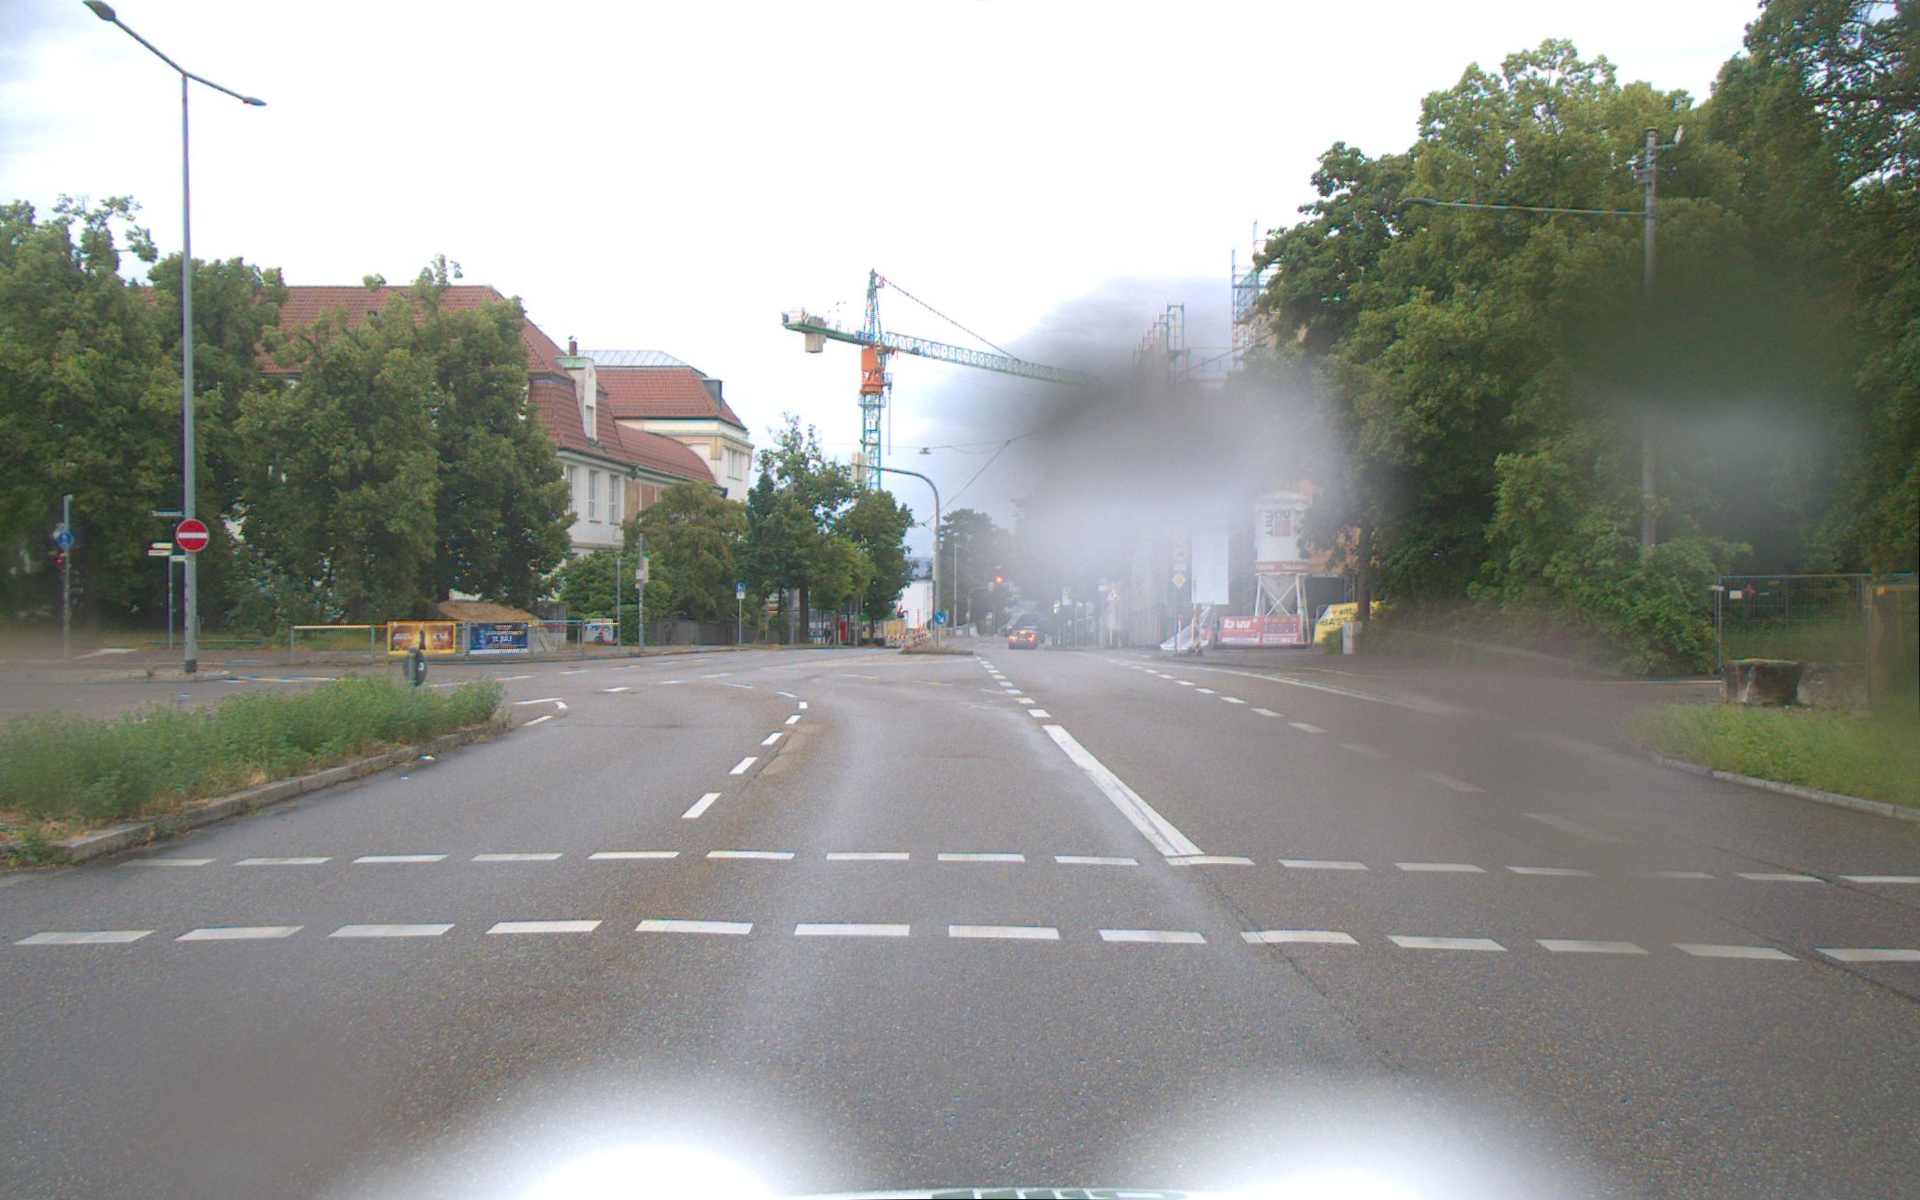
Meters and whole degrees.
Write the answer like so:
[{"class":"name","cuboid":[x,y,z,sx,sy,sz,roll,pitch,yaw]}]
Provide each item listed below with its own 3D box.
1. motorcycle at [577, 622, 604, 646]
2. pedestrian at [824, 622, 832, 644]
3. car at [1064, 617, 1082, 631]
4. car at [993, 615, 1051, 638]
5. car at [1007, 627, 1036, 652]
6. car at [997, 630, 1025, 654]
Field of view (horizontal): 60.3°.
[{"class":"motorcycle","cuboid":[-14.458,1.332,64.714,0.832,0.893,0.877,1,0,-1]},{"class":"pedestrian","cuboid":[-10.272,2.584,128.565,0.483,1.674,0.534,1,-1,16]},{"class":"car","cuboid":[14.997,3.130,219.500,1.951,1.780,4.003,-1,0,10]},{"class":"car","cuboid":[6.901,2.898,182.781,6.128,2.445,2.817,1,0,-40]},{"class":"car","cuboid":[4.611,2.962,124.862,1.953,1.780,3.999,-1,0,-1]},{"class":"car","cuboid":[4.044,3.328,131.492,1.953,1.780,3.999,-1,0,-1]}]
